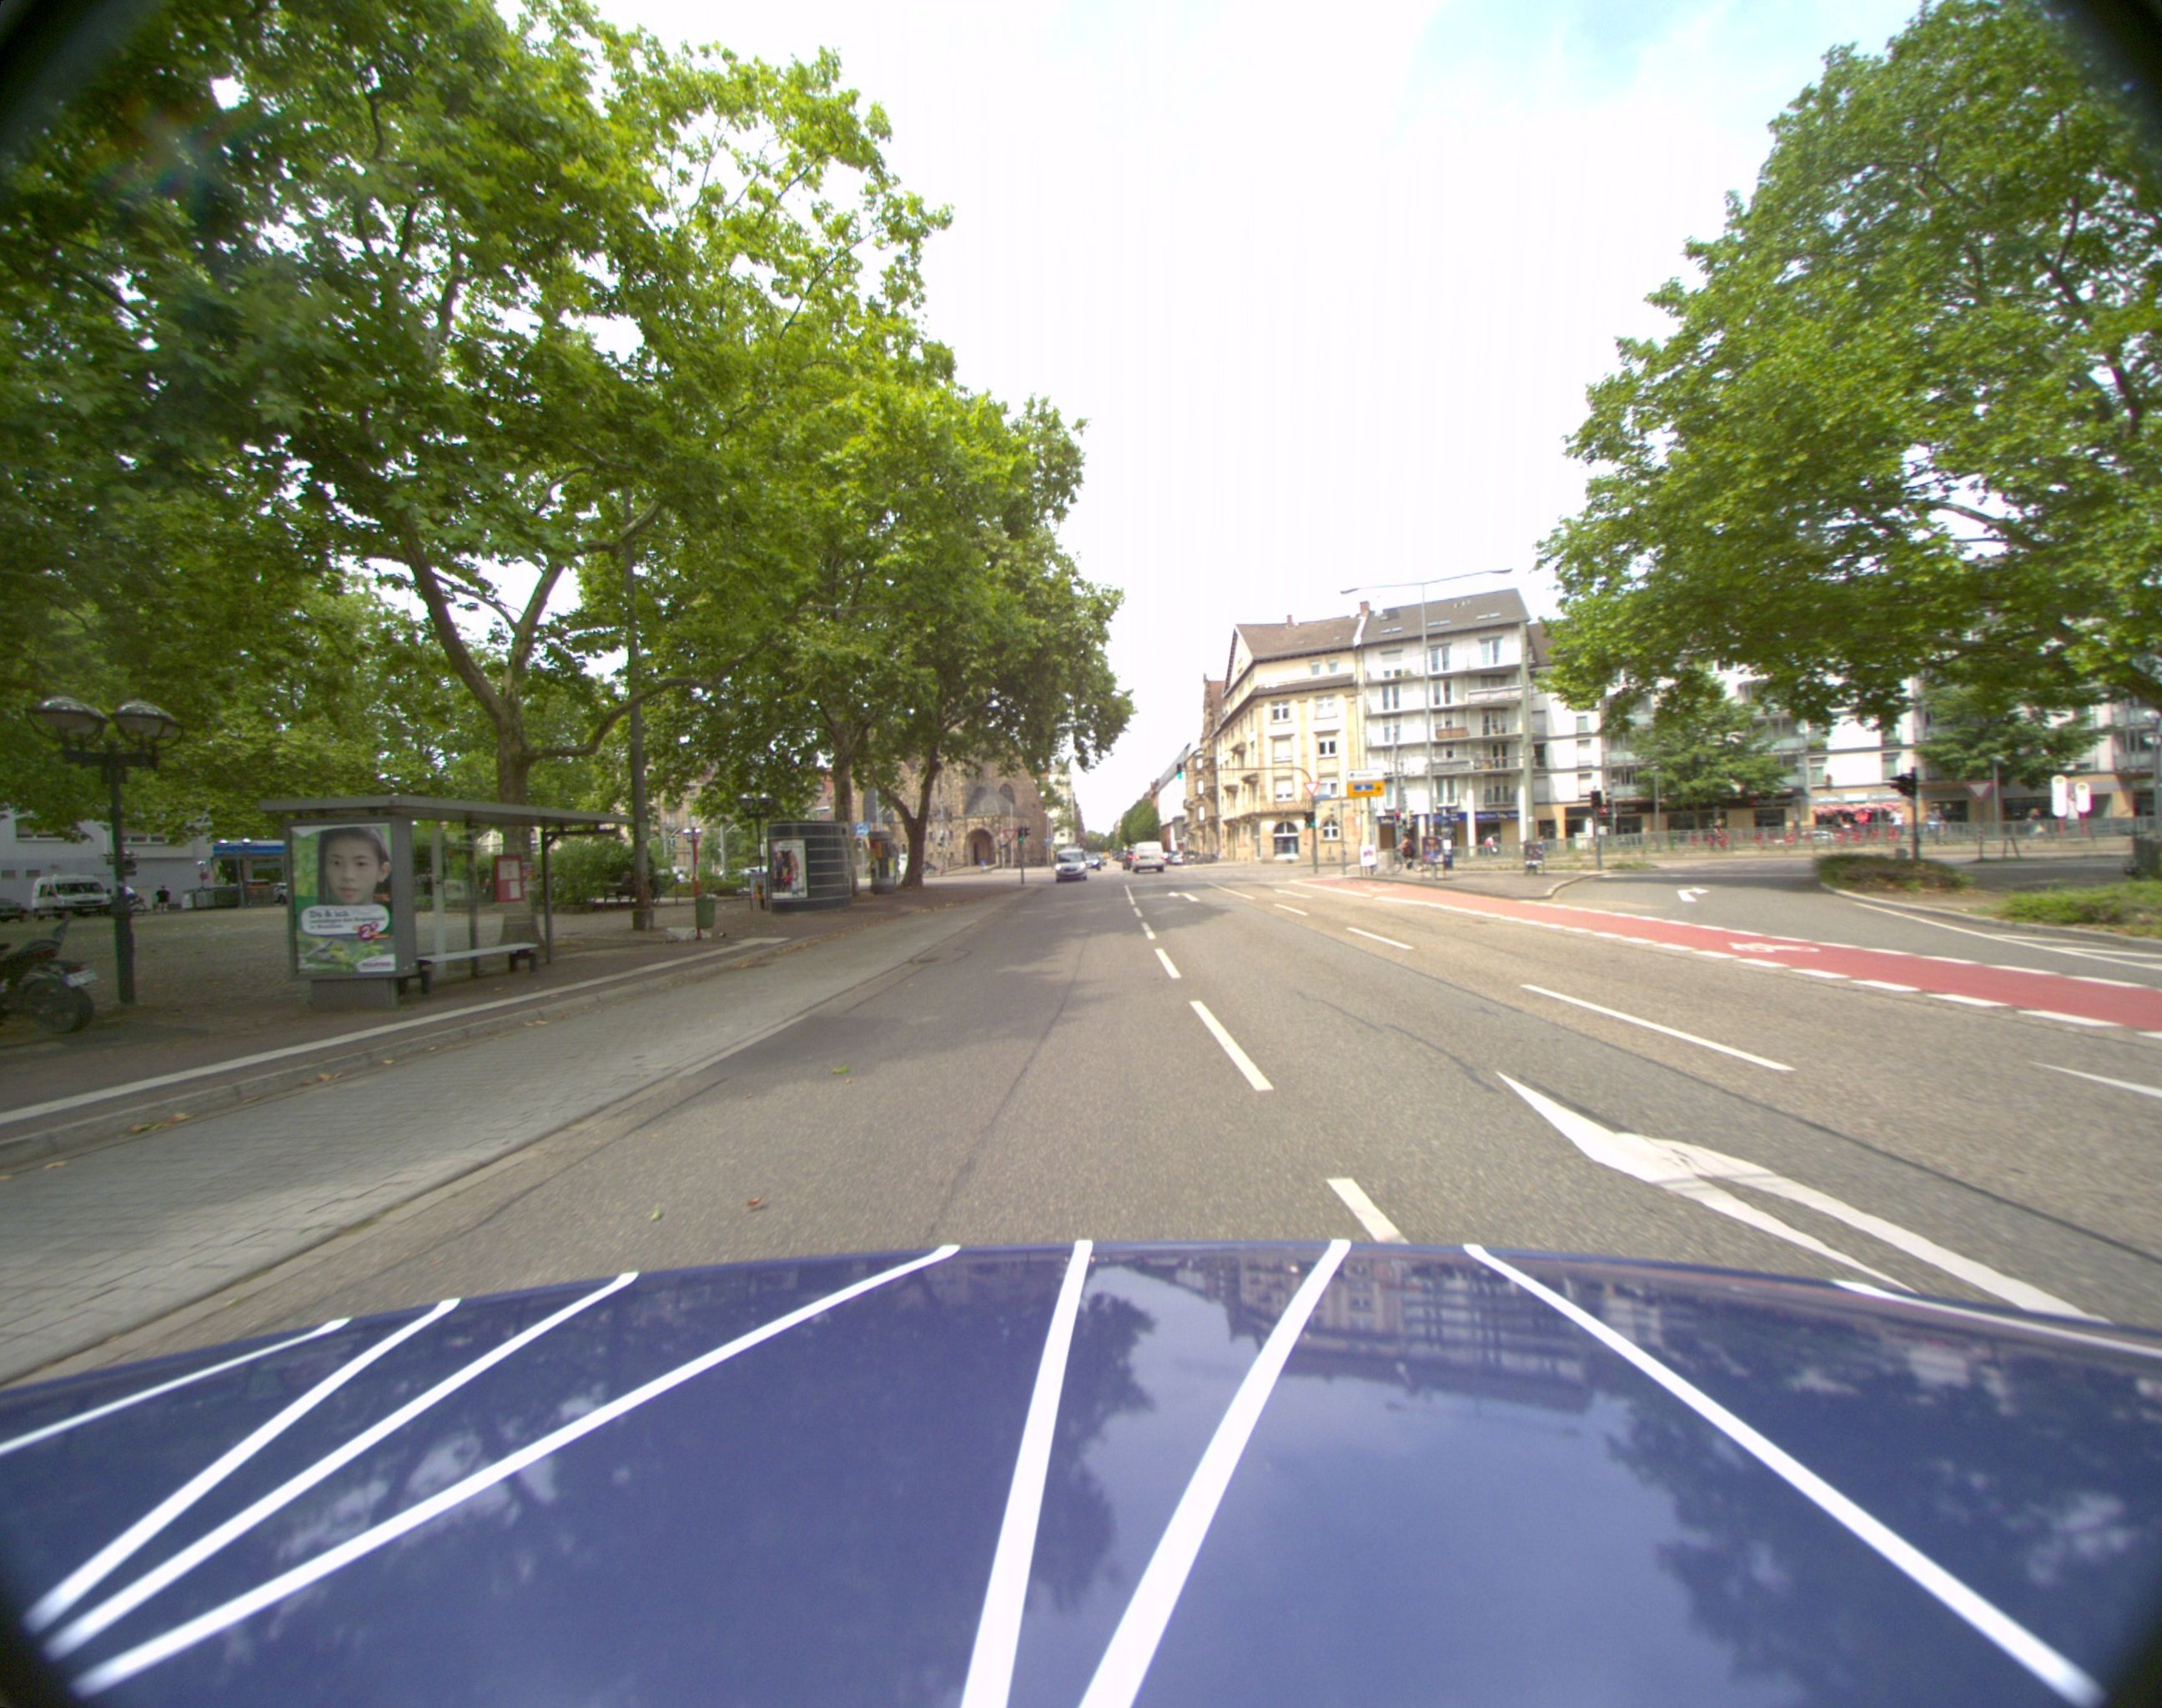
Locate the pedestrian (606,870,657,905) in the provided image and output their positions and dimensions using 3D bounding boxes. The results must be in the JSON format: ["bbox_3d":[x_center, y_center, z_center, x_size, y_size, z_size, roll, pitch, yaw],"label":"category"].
[{"bbox_3d":[-16.630,1.242,28.121,1.096,1.206,1.142,-1,1,26],"label":"pedestrian"}]

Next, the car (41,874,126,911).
[{"bbox_3d":[-59.940,2.306,45.664,4.019,2.095,2.003,-2,0,21],"label":"car"}]

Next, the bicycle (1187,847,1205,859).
[{"bbox_3d":[12.194,-0.090,80.898,1.821,1.185,0.397,-2,0,-2],"label":"bicycle"}]

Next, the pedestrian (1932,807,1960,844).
[{"bbox_3d":[47.922,-1.565,42.107,0.756,2.002,0.762,-2,1,26],"label":"pedestrian"}]

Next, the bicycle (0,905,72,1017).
[{"bbox_3d":[-14.310,1.414,9.276,0.419,1.370,2.315,-1,1,33],"label":"bicycle"}]

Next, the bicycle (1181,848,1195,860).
[{"bbox_3d":[11.569,-0.016,82.322,1.345,1.185,0.397,-5,1,-5],"label":"bicycle"}]

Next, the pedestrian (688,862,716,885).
[{"bbox_3d":[-22.075,1.138,44.229,1.176,1.310,0.869,-2,0,24],"label":"pedestrian"}]

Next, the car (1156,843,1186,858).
[{"bbox_3d":[12.871,-0.486,108.587,3.833,1.526,1.756,-7,-2,-33],"label":"car"}]

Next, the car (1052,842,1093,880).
[{"bbox_3d":[-0.439,0.383,44.402,2.082,2.039,4.681,-2,0,2],"label":"car"}]

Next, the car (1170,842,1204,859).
[{"bbox_3d":[12.631,-0.445,90.671,3.835,1.808,1.754,-3,1,-38],"label":"car"}]

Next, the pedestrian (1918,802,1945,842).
[{"bbox_3d":[48.126,-1.798,42.999,0.756,2.237,0.762,-1,1,26],"label":"pedestrian"}]

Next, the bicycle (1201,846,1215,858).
[{"bbox_3d":[13.643,-0.223,81.668,1.345,1.185,0.397,-5,1,-5],"label":"bicycle"}]

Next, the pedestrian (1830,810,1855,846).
[{"bbox_3d":[43.289,-1.461,43.204,0.756,2.002,0.762,-2,1,26],"label":"pedestrian"}]

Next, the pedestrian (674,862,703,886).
[{"bbox_3d":[-22.388,1.128,43.322,1.176,1.310,0.869,-2,0,24],"label":"pedestrian"}]

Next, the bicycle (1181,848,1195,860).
[{"bbox_3d":[11.662,0.013,83.038,1.345,1.185,0.397,-5,0,0],"label":"bicycle"}]

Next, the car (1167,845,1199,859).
[{"bbox_3d":[12.517,-0.261,93.166,3.835,1.526,1.755,-2,0,-38],"label":"car"}]

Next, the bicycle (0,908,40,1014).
[{"bbox_3d":[-14.954,1.453,9.445,0.419,1.370,2.316,-1,0,33],"label":"bicycle"}]

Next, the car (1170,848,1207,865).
[{"bbox_3d":[12.415,0.323,87.279,4.042,1.580,1.755,-5,-1,-38],"label":"car"}]

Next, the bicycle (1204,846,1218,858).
[{"bbox_3d":[13.829,-0.234,81.085,1.345,1.185,0.397,-5,1,-5],"label":"bicycle"}]

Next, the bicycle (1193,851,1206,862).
[{"bbox_3d":[12.926,0.290,82.688,1.345,1.185,0.397,-2,0,0],"label":"bicycle"}]

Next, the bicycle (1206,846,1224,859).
[{"bbox_3d":[14.211,-0.162,80.501,1.830,1.185,0.397,-4,0,1],"label":"bicycle"}]

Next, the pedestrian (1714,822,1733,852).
[{"bbox_3d":[32.969,-0.870,38.991,0.597,1.543,0.671,-2,1,25],"label":"pedestrian"}]

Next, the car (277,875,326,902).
[{"bbox_3d":[-55.646,2.443,54.227,3.989,1.805,2.004,-2,0,38],"label":"car"}]

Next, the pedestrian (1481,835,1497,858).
[{"bbox_3d":[27.574,-0.511,51.332,0.837,1.543,0.869,-2,1,25],"label":"pedestrian"}]

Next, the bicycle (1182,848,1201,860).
[{"bbox_3d":[11.667,-0.040,79.896,1.872,1.185,0.456,-3,0,21],"label":"bicycle"}]

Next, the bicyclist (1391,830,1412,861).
[{"bbox_3d":[13.919,-0.359,33.019,0.751,1.334,0.493,-2,0,27],"label":"bicyclist"}]

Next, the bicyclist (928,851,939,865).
[{"bbox_3d":[-16.141,0.436,83.203,0.838,1.488,0.589,-4,1,20],"label":"bicyclist"}]

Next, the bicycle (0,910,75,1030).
[{"bbox_3d":[-13.262,1.389,8.541,0.419,1.370,2.316,-1,0,33],"label":"bicycle"}]

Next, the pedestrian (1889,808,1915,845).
[{"bbox_3d":[46.136,-1.527,42.698,0.756,2.002,0.762,-2,1,26],"label":"pedestrian"}]

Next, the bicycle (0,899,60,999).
[{"bbox_3d":[-15.807,1.388,10.277,0.419,1.370,2.315,-1,1,33],"label":"bicycle"}]

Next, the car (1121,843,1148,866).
[{"bbox_3d":[4.161,0.048,59.993,1.827,1.638,4.427,-3,0,1],"label":"car"}]

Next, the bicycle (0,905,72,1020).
[{"bbox_3d":[-13.792,1.366,8.897,0.419,1.370,2.316,-1,0,33],"label":"bicycle"}]

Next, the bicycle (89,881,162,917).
[{"bbox_3d":[-48.824,2.265,38.864,2.187,1.695,0.721,-2,0,-26],"label":"bicycle"}]

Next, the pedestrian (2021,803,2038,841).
[{"bbox_3d":[51.438,-1.732,41.212,0.369,2.002,0.503,-1,1,25],"label":"pedestrian"}]

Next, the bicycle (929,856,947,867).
[{"bbox_3d":[-15.663,0.850,83.054,1.809,1.079,0.599,-4,1,20],"label":"bicycle"}]

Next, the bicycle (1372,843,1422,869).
[{"bbox_3d":[13.762,0.078,33.137,1.966,1.088,0.628,0,1,27],"label":"bicycle"}]

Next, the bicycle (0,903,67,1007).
[{"bbox_3d":[-15.288,1.423,9.958,0.419,1.370,2.315,-1,1,33],"label":"bicycle"}]

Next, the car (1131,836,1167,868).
[{"bbox_3d":[4.483,-0.144,50.734,1.928,1.925,4.947,-3,0,1],"label":"car"}]

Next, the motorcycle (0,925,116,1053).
[{"bbox_3d":[-11.273,1.402,7.837,1.859,1.215,0.531,-2,0,-2],"label":"motorcycle"}]

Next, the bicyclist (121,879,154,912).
[{"bbox_3d":[-48.473,2.135,39.055,0.868,1.643,0.561,-2,0,-27],"label":"bicyclist"}]

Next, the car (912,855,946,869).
[{"bbox_3d":[-19.018,0.986,95.193,1.995,1.641,4.006,-2,0,26],"label":"car"}]

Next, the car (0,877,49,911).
[{"bbox_3d":[-61.390,2.326,43.410,3.990,1.805,2.003,-2,1,23],"label":"car"}]
